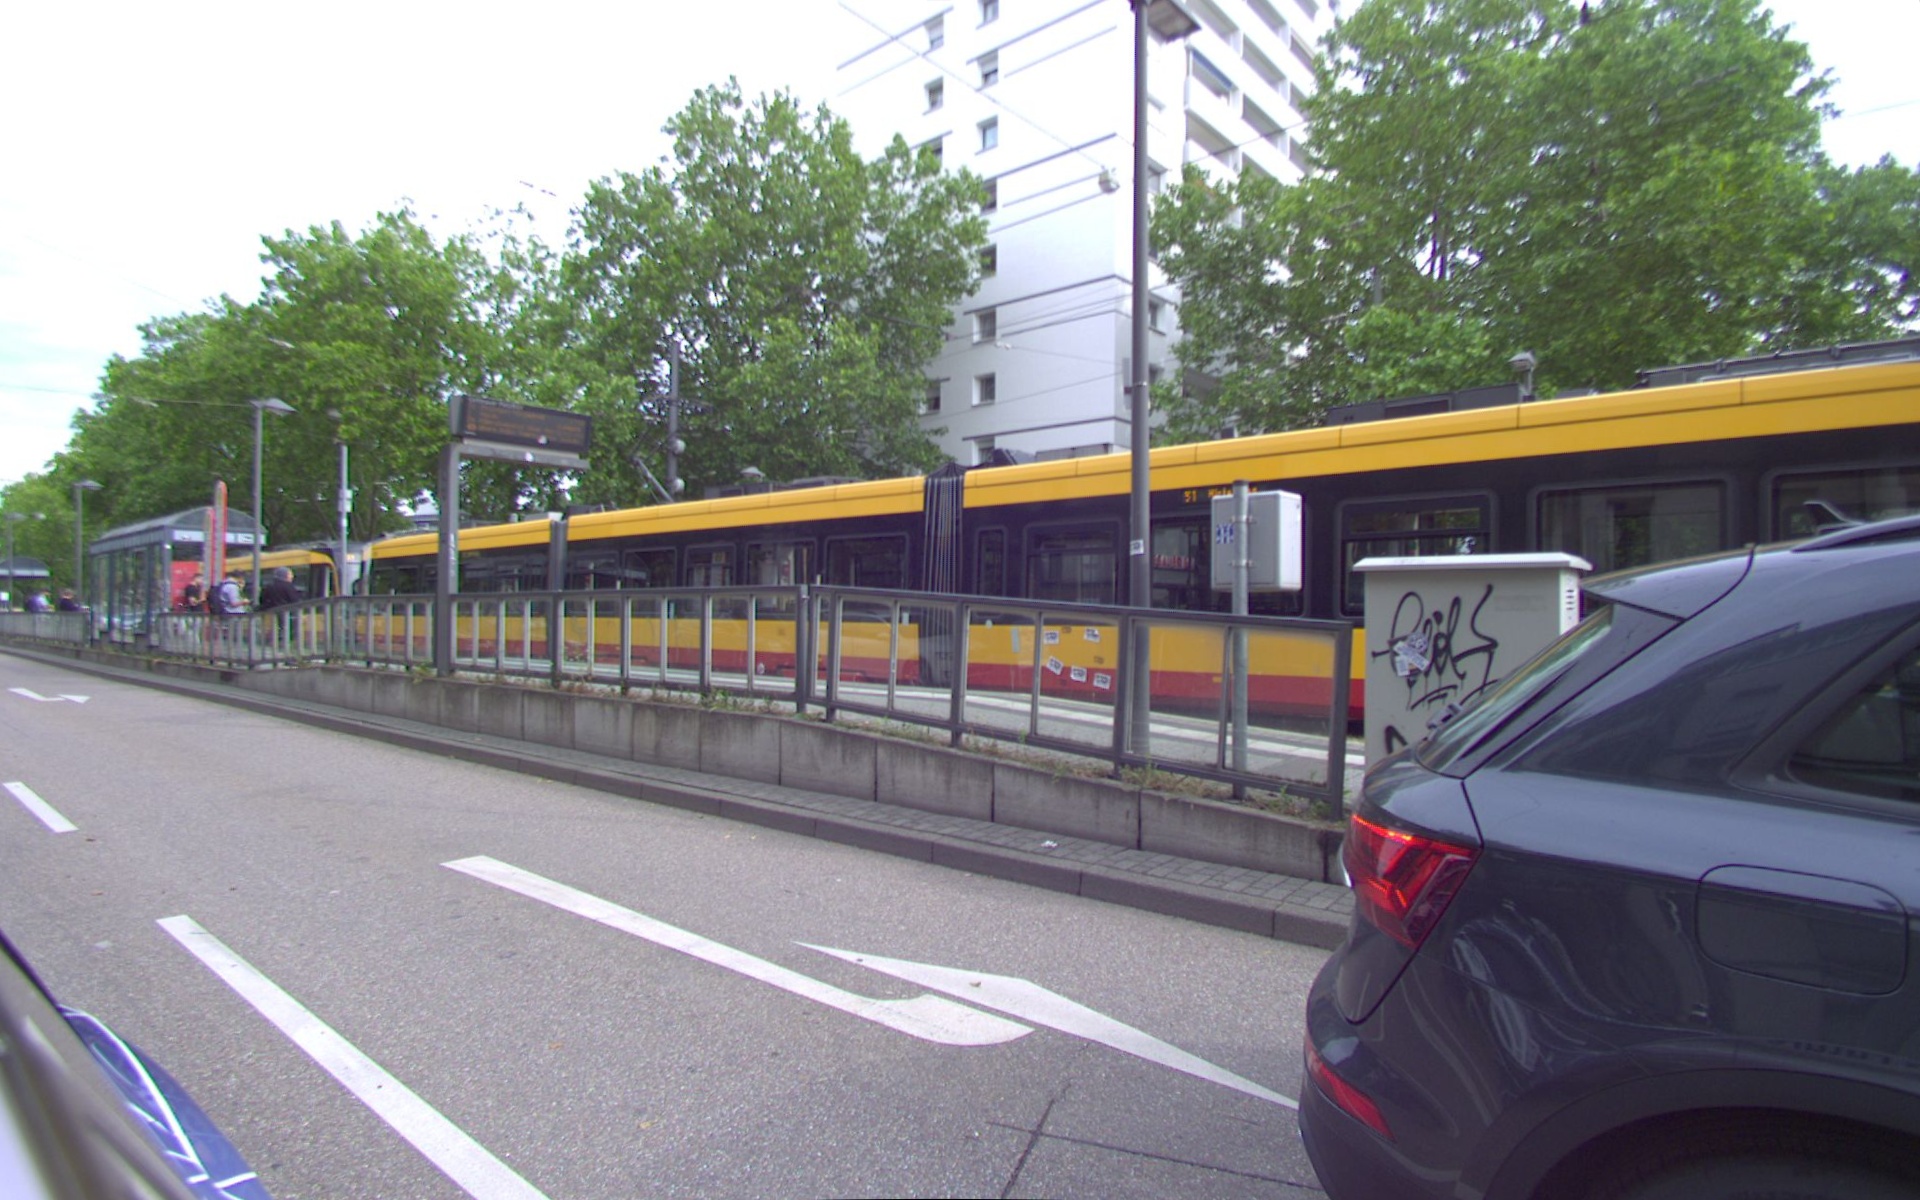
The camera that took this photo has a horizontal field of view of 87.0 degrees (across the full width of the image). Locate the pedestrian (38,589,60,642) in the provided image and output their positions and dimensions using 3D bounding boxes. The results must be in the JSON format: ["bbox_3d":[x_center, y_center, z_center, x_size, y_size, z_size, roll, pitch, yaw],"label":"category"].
[{"bbox_3d":[-28.982,0.486,32.212,0.392,1.645,0.474,-1,0,42],"label":"pedestrian"}]

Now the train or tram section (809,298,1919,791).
[{"bbox_3d":[4.617,-0.393,11.563,15.841,3.615,3.028,0,0,41],"label":"train or tram section"}]

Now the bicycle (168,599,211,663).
[{"bbox_3d":[-15.293,0.597,20.068,1.289,1.231,0.414,-1,0,41],"label":"bicycle"}]

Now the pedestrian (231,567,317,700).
[{"bbox_3d":[-10.754,0.510,15.883,0.808,2.029,0.754,-1,0,4],"label":"pedestrian"}]

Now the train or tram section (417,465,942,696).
[{"bbox_3d":[-7.057,-0.278,21.818,15.287,3.558,3.028,0,0,41],"label":"train or tram section"}]

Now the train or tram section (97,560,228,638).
[{"bbox_3d":[-40.816,-0.028,51.541,12.534,3.588,3.060,0,0,41],"label":"train or tram section"}]

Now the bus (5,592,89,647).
[{"bbox_3d":[-35.486,0.734,39.307,3.998,2.029,1.973,0,0,41],"label":"bus"}]

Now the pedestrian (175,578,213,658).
[{"bbox_3d":[-15.982,0.373,21.122,0.471,1.645,0.526,-1,0,39],"label":"pedestrian"}]

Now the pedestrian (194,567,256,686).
[{"bbox_3d":[-12.908,0.455,17.800,0.742,2.029,0.821,-1,0,-26],"label":"pedestrian"}]

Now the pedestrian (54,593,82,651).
[{"bbox_3d":[-25.463,0.618,28.894,0.730,1.645,0.506,-1,0,42],"label":"pedestrian"}]

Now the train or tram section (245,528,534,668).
[{"bbox_3d":[-18.546,-0.030,31.929,15.287,3.558,3.028,0,0,41],"label":"train or tram section"}]

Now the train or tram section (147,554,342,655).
[{"bbox_3d":[-30.207,0.189,42.166,15.764,3.558,3.028,0,0,41],"label":"train or tram section"}]

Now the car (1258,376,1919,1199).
[{"bbox_3d":[2.760,0.534,1.021,4.354,1.613,1.861,-1,0,40],"label":"car"}]

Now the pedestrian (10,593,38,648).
[{"bbox_3d":[-34.829,0.757,37.655,0.587,2.029,0.668,-1,0,38],"label":"pedestrian"}]
